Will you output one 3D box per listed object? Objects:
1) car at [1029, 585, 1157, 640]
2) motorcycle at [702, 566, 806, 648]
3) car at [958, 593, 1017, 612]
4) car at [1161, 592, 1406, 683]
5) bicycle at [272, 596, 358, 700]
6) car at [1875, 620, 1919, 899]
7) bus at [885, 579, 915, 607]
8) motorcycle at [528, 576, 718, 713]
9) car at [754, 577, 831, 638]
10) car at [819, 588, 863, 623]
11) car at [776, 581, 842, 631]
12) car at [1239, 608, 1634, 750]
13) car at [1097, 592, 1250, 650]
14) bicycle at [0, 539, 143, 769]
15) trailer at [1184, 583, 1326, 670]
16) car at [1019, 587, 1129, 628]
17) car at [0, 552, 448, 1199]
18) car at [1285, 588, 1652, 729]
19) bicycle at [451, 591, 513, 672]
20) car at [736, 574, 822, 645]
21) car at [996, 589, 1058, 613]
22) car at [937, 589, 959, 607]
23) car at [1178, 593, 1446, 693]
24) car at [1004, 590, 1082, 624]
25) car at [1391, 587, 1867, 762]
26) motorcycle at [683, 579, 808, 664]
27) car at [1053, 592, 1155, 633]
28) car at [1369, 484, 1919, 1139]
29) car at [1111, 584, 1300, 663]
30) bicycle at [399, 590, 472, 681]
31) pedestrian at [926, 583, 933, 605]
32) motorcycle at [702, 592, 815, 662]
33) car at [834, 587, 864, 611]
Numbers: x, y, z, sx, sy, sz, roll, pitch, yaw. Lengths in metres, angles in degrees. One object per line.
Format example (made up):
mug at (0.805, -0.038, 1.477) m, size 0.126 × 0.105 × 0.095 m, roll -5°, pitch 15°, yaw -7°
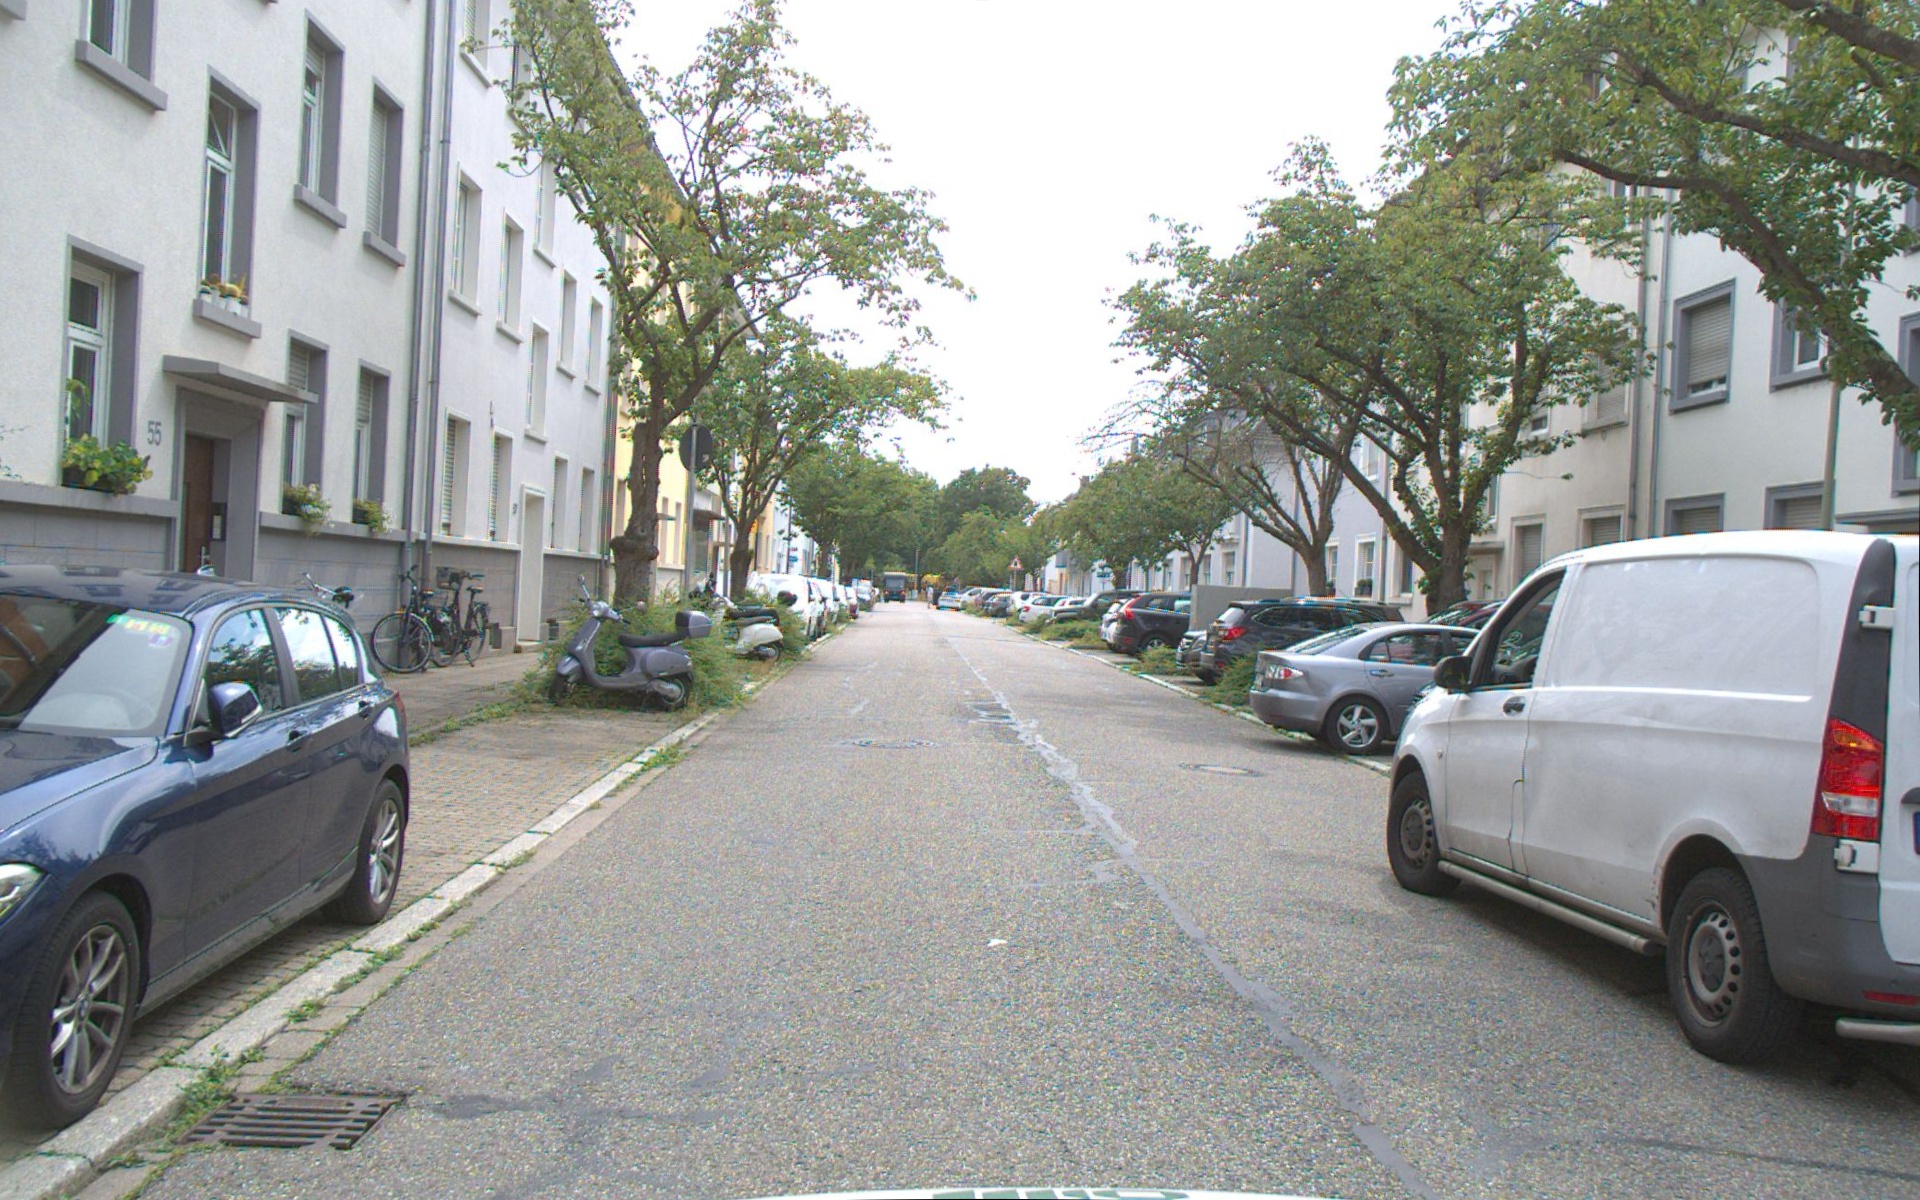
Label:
car at (4.688, 0.449, 58.729) m, size 4.432 × 1.890 × 1.793 m, roll 0°, pitch 0°, yaw 0°
motorcycle at (-4.569, 0.140, 36.480) m, size 0.932 × 1.705 × 2.433 m, roll 2°, pitch 0°, yaw -45°
car at (2.312, 0.210, 139.937) m, size 4.876 × 1.545 × 1.767 m, roll 0°, pitch 0°, yaw -4°
car at (5.961, 0.683, 30.809) m, size 4.132 × 1.626 × 1.902 m, roll 0°, pitch 0°, yaw -5°
bicycle at (-6.376, 0.459, 16.410) m, size 0.303 × 0.983 × 1.434 m, roll 0°, pitch 0°, yaw -1°
car at (7.247, 0.932, 9.133) m, size 3.409 × 1.601 × 1.813 m, roll 0°, pitch 0°, yaw -3°
bus at (-6.245, -0.747, 171.412) m, size 2.944 × 2.809 × 8.919 m, roll 0°, pitch 0°, yaw -3°
motorcycle at (-3.659, 0.475, 17.993) m, size 1.977 × 1.432 × 0.790 m, roll 0°, pitch 0°, yaw -14°
car at (-4.661, 0.219, 46.593) m, size 1.754 × 1.518 × 4.810 m, roll 3°, pitch -1°, yaw -2°
car at (-5.435, 0.249, 75.812) m, size 1.839 × 1.512 × 4.510 m, roll 0°, pitch 0°, yaw -2°
car at (-4.977, 0.192, 54.970) m, size 1.879 × 1.609 × 4.381 m, roll 0°, pitch 0°, yaw -2°
car at (5.240, 0.854, 18.511) m, size 3.907 × 1.480 × 1.765 m, roll 0°, pitch 0°, yaw -3°
car at (5.871, 0.573, 45.785) m, size 3.909 × 1.557 × 1.766 m, roll 0°, pitch 0°, yaw -5°
bicycle at (-5.863, 0.316, 10.542) m, size 0.420 × 1.357 × 1.811 m, roll 0°, pitch 0°, yaw -1°
trailer at (6.433, 0.569, 36.239) m, size 2.899 × 1.863 × 1.401 m, roll 0°, pitch 0°, yaw 1°
car at (4.812, 0.303, 70.102) m, size 4.521 × 1.693 × 1.892 m, roll 0°, pitch 0°, yaw -1°
car at (-3.180, 0.626, 5.483) m, size 1.801 × 1.509 × 4.117 m, roll 5°, pitch 0°, yaw -4°
car at (6.420, 0.718, 21.227) m, size 4.128 × 1.707 × 1.904 m, roll 0°, pitch 0°, yaw 0°
bicycle at (-6.259, 0.405, 21.714) m, size 0.411 × 1.024 × 1.434 m, roll 0°, pitch 0°, yaw -1°
car at (-4.383, 0.215, 40.548) m, size 1.722 × 1.583 × 4.254 m, roll 2°, pitch 0°, yaw -2°
car at (4.024, 0.078, 99.784) m, size 3.671 × 1.389 × 1.772 m, roll 0°, pitch 0°, yaw -1°
car at (-0.965, -0.144, 131.417) m, size 1.653 × 1.378 × 3.825 m, roll 0°, pitch 0°, yaw -1°
car at (5.972, 0.718, 28.325) m, size 4.132 × 1.626 × 1.902 m, roll 0°, pitch 0°, yaw -4°
car at (4.228, 0.350, 84.290) m, size 3.844 × 1.661 × 1.867 m, roll 0°, pitch 0°, yaw -1°
car at (6.307, 0.682, 15.844) m, size 3.907 × 1.563 × 1.637 m, roll 0°, pitch 0°, yaw -3°
motorcycle at (-3.898, 0.380, 30.136) m, size 2.207 × 1.507 × 0.591 m, roll 1°, pitch 0°, yaw -29°
car at (5.351, 0.477, 61.718) m, size 3.555 × 1.480 × 1.771 m, roll 0°, pitch 0°, yaw -6°
car at (3.573, 0.697, 7.363) m, size 1.954 × 1.948 × 4.700 m, roll 4°, pitch 0°, yaw -4°
car at (5.676, 0.526, 38.568) m, size 4.128 × 1.766 × 1.904 m, roll 0°, pitch 0°, yaw 0°
bicycle at (-6.134, 0.405, 19.395) m, size 0.411 × 1.024 × 1.434 m, roll 0°, pitch 0°, yaw -1°
pedestrian at (-2.402, -0.474, 130.790) m, size 0.511 × 1.734 × 0.444 m, roll 0°, pitch 0°, yaw 1°
motorcycle at (-3.539, 0.469, 29.099) m, size 1.884 × 1.212 × 0.591 m, roll 1°, pitch 0°, yaw -29°
car at (-7.639, -0.078, 114.143) m, size 1.727 × 1.581 × 3.731 m, roll 0°, pitch 0°, yaw 1°
